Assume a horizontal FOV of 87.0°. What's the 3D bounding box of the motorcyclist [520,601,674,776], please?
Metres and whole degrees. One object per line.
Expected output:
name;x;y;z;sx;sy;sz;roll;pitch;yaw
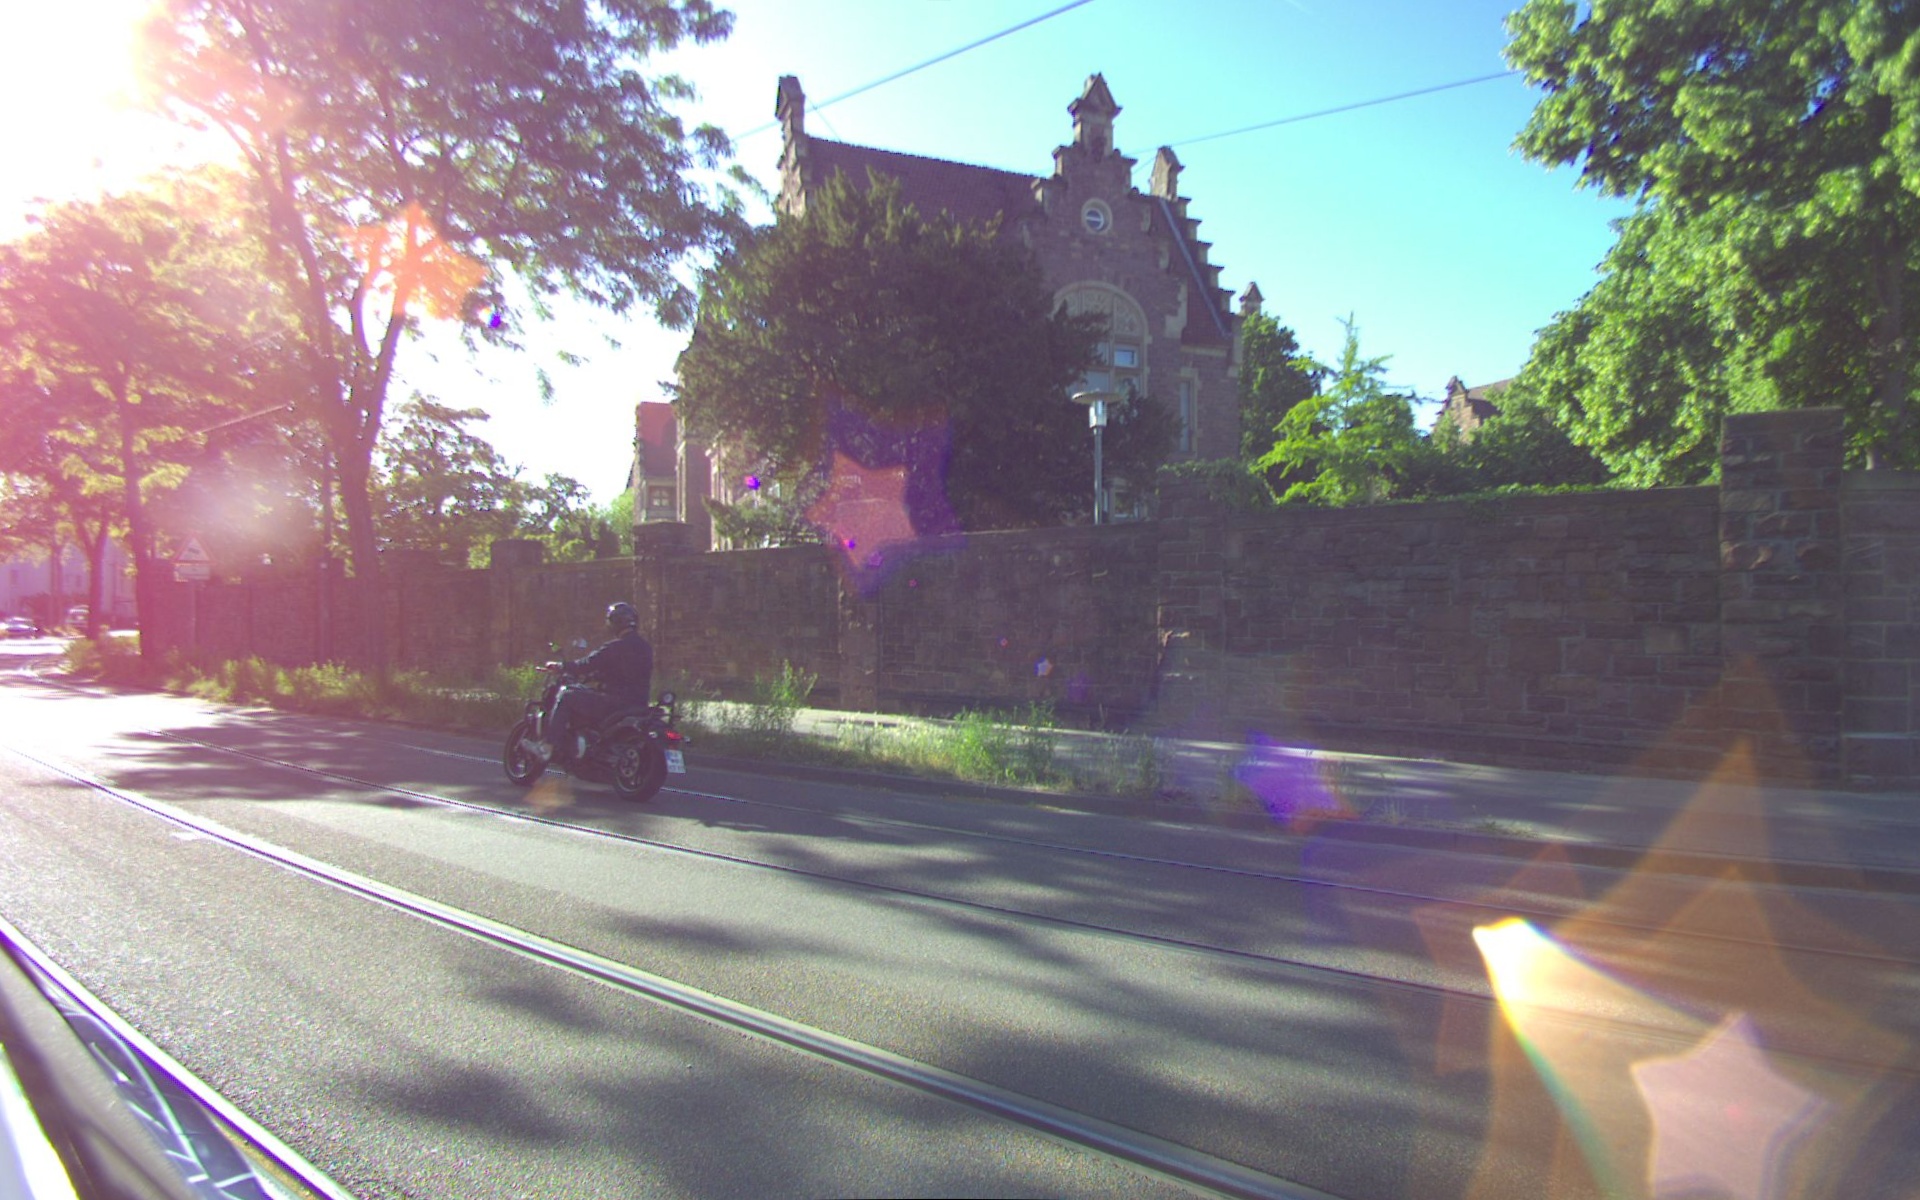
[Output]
motorcyclist;-3.106;0.718;8.689;0.905;1.393;0.883;-1;-1;31

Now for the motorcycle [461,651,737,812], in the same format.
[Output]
motorcycle;-3.130;1.045;8.687;2.420;1.162;0.905;-1;-1;31
